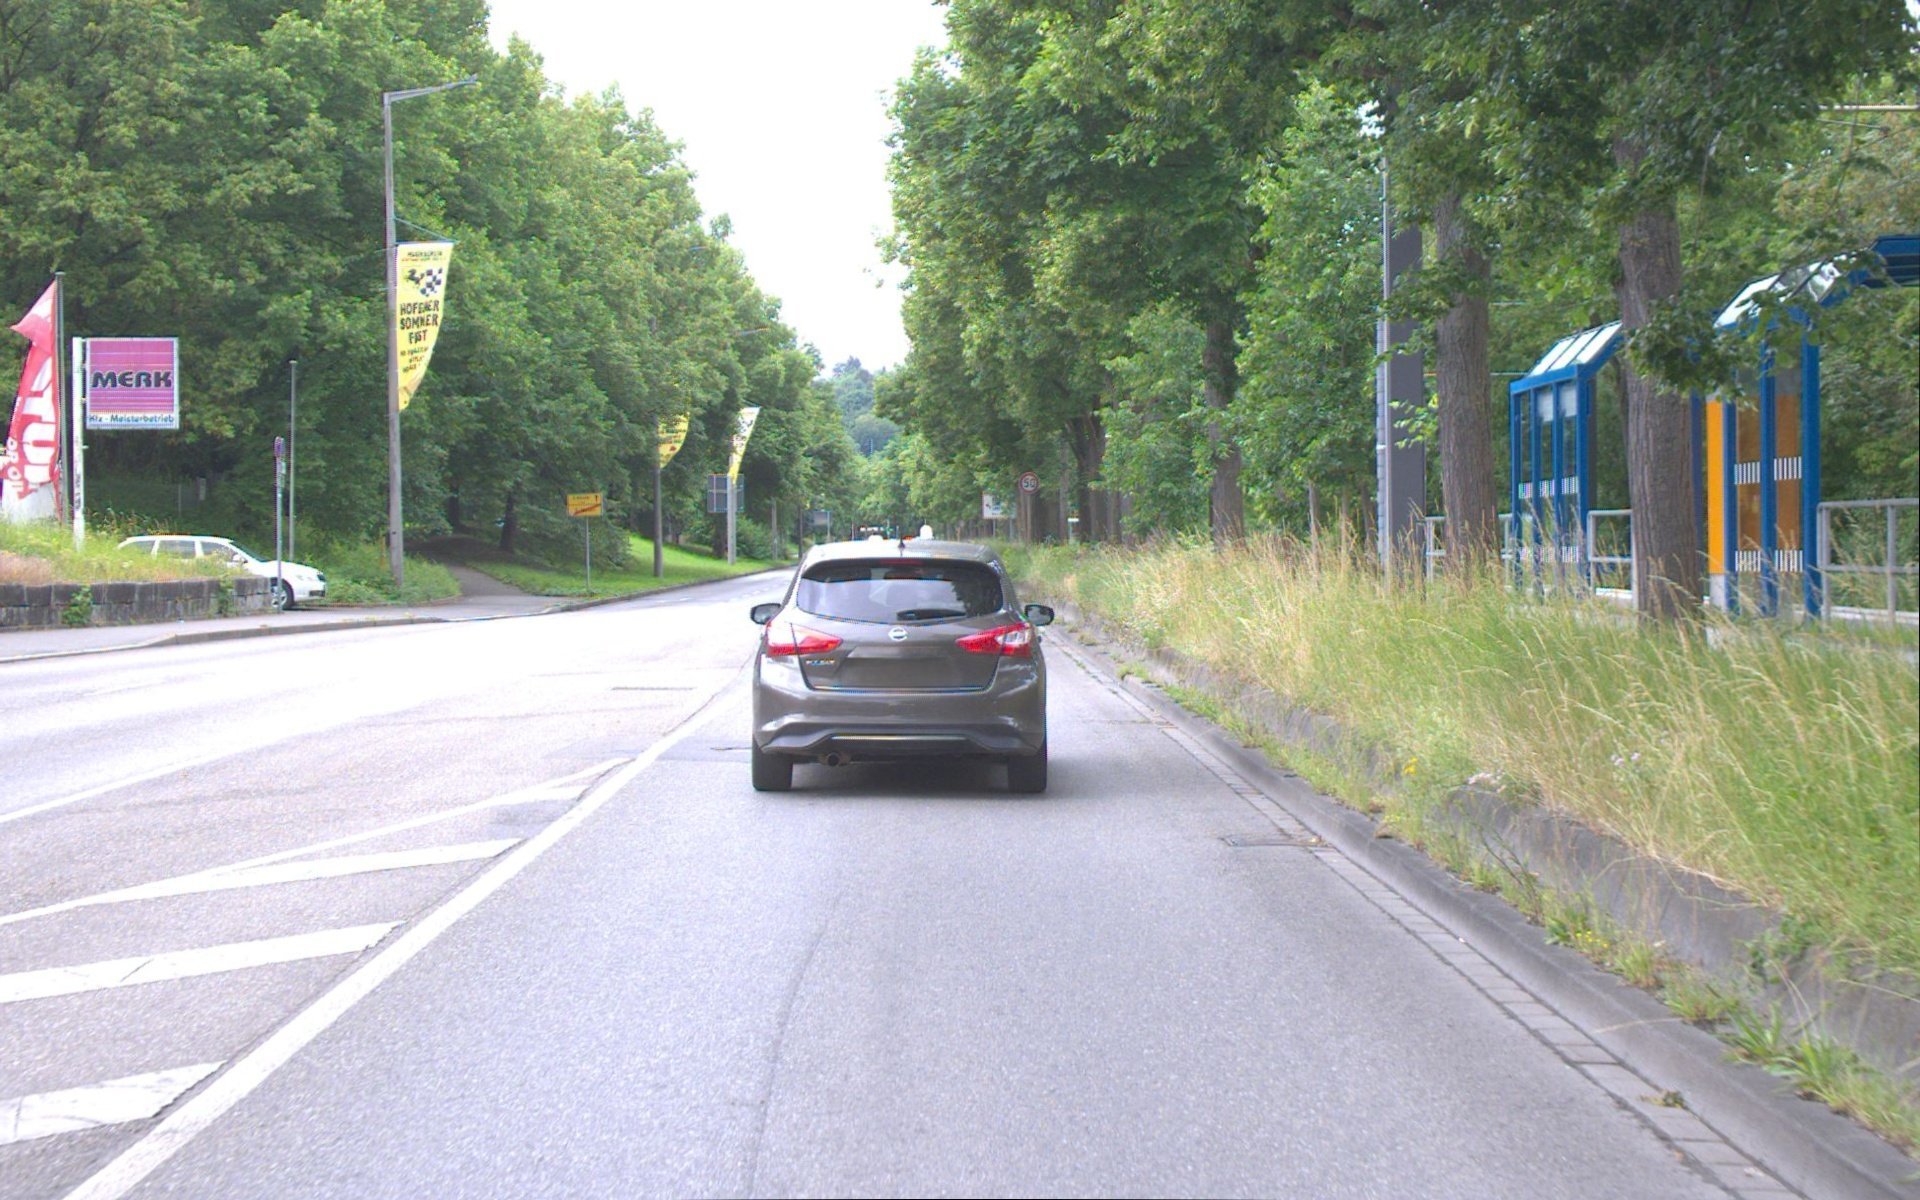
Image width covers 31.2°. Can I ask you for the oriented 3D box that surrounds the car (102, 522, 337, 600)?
[{"bbox_3d":[-15.019,-0.801,69.903,4.374,1.436,1.962,2,1,-3],"label":"car"}]

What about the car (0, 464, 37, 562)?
[{"bbox_3d":[-16.609,-1.394,53.517,3.987,1.487,1.647,2,0,4],"label":"car"}]

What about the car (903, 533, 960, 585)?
[{"bbox_3d":[-0.818,-1.210,100.869,1.503,1.476,3.671,1,1,2],"label":"car"}]

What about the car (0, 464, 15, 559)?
[{"bbox_3d":[-16.397,-1.385,51.559,3.987,1.406,1.533,2,0,4],"label":"car"}]

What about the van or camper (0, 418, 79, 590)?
[{"bbox_3d":[-21.901,-2.217,69.659,7.141,3.359,2.797,5,1,0],"label":"van or camper"}]

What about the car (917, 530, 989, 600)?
[{"bbox_3d":[-0.144,-0.798,77.623,1.503,1.523,3.671,1,1,1],"label":"car"}]

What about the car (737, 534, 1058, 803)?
[{"bbox_3d":[-0.320,0.368,21.822,1.837,1.523,3.929,1,1,1],"label":"car"}]
